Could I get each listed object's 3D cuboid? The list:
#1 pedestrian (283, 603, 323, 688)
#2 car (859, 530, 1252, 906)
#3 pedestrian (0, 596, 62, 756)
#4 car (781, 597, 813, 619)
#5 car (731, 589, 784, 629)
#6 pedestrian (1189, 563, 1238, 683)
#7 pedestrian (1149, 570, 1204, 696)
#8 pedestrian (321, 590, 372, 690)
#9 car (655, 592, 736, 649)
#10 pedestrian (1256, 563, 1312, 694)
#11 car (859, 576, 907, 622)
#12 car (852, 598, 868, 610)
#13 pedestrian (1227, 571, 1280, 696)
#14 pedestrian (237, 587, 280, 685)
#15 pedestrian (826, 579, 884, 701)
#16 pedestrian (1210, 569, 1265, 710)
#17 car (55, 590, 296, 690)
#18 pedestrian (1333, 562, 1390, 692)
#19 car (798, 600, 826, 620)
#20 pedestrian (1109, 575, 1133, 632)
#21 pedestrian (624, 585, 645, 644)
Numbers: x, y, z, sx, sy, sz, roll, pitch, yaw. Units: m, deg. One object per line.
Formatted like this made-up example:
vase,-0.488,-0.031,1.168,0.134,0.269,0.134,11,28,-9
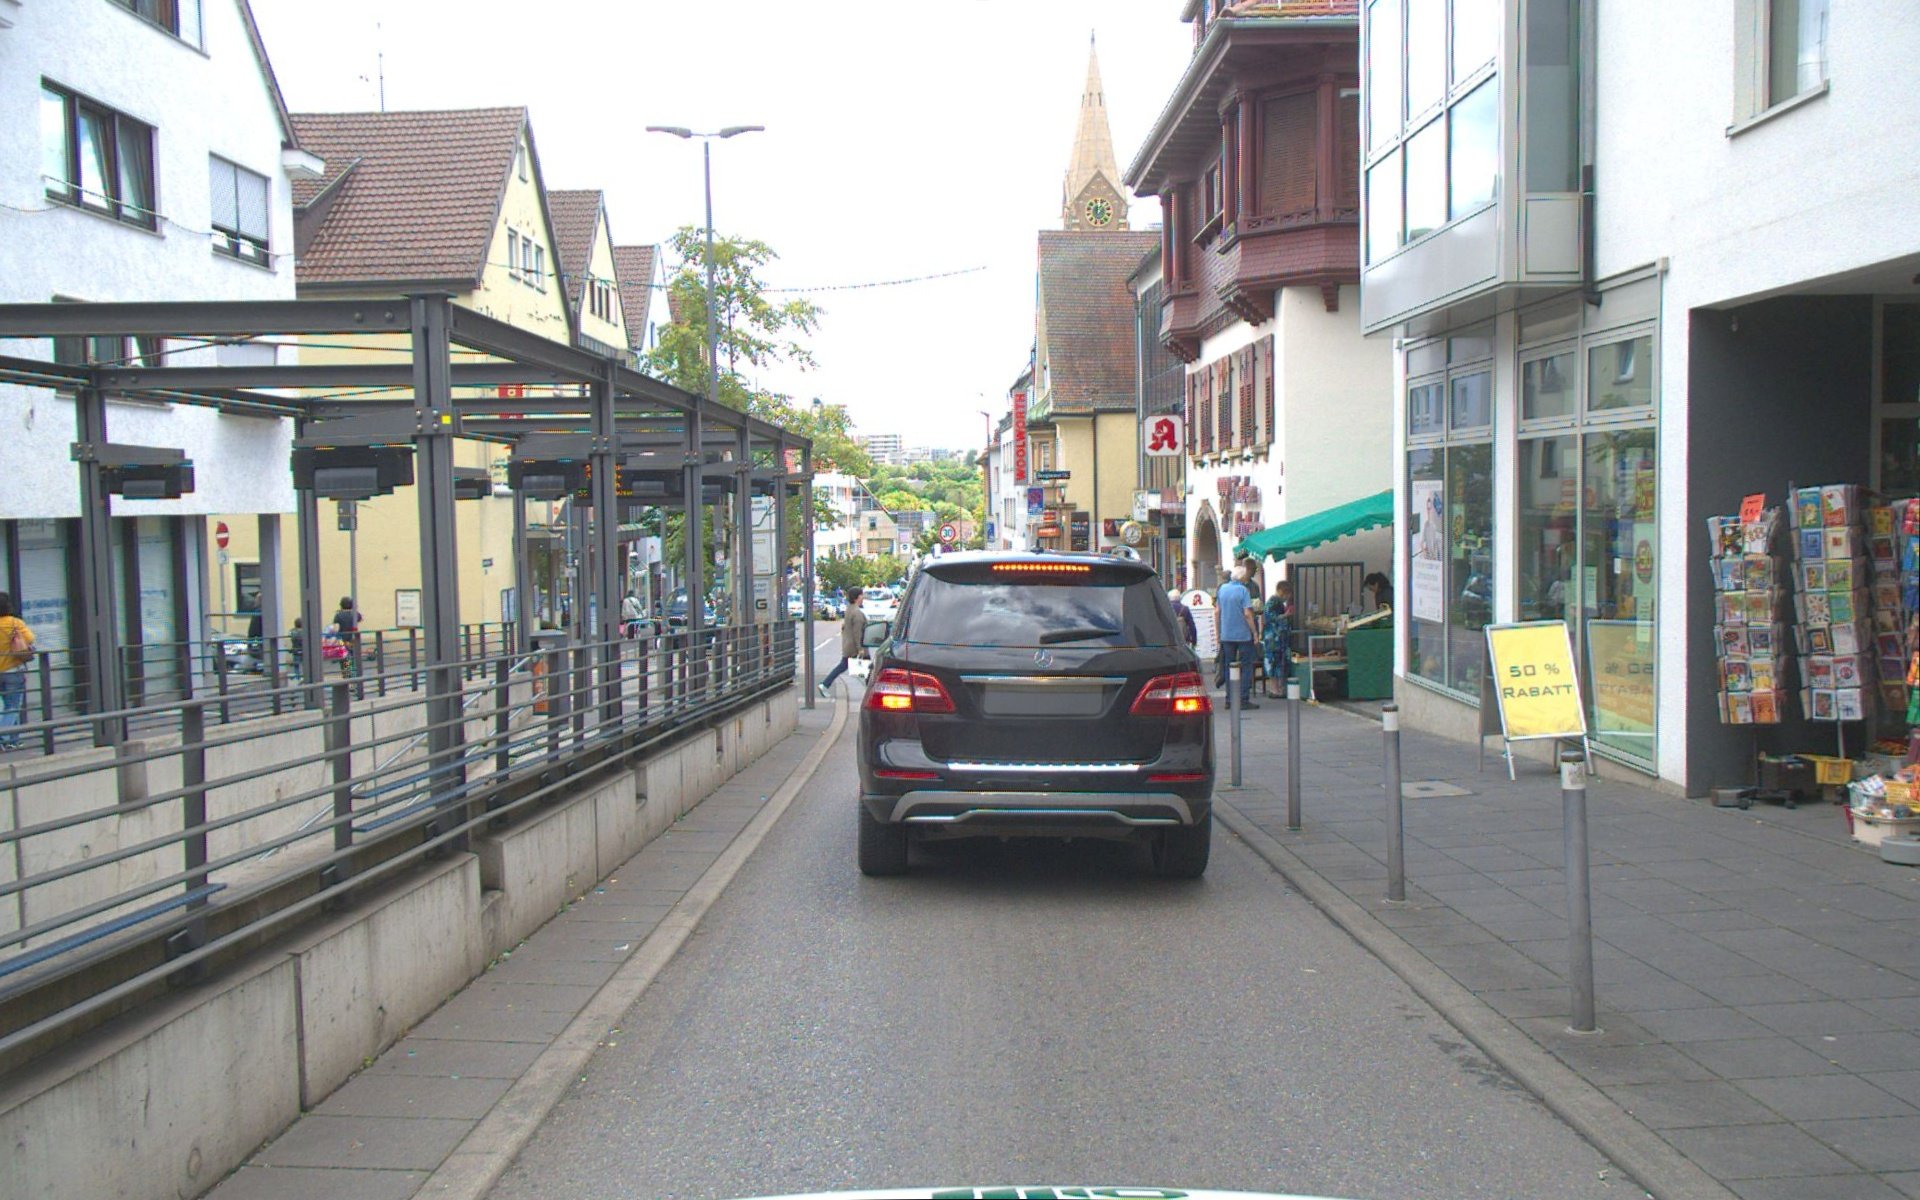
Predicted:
pedestrian,-11.420,0.785,28.766,0.447,1.446,0.533,1,0,2
car,0.387,0.557,9.915,1.862,1.777,3.998,1,0,-2
pedestrian,-10.325,0.826,18.178,0.566,1.718,0.576,1,0,-1
car,-8.561,0.425,87.145,1.360,1.089,3.113,-1,0,0
car,-7.865,0.326,64.503,1.626,1.516,3.747,1,0,0
pedestrian,3.961,0.351,25.843,0.626,1.841,0.684,1,0,-1
pedestrian,3.005,0.449,22.990,0.609,1.718,0.565,1,0,-7
pedestrian,-10.662,0.689,28.761,0.613,1.718,0.679,1,0,-1
car,-7.499,0.560,47.200,1.655,1.516,3.979,1,0,0
pedestrian,4.326,0.376,22.115,0.562,1.718,0.565,-1,0,-7
car,-3.000,-0.060,65.026,1.734,1.743,3.999,1,0,-1
car,-9.711,0.386,160.825,1.360,1.089,3.113,-1,0,0
pedestrian,4.099,0.457,23.125,0.562,1.718,0.565,1,0,-7
pedestrian,-12.515,0.633,29.514,0.601,1.718,0.561,1,0,-15
pedestrian,-1.505,0.567,23.795,0.750,1.718,0.727,1,0,1
pedestrian,3.504,0.491,20.909,0.531,1.756,0.527,-1,0,-7
car,-15.916,0.769,33.622,4.091,1.761,1.836,3,1,12
pedestrian,5.400,0.353,22.268,0.562,1.718,0.565,-1,0,-7
car,-8.818,0.601,98.565,1.360,1.089,3.113,-1,0,0
pedestrian,4.911,0.106,50.476,0.594,1.718,0.724,-1,0,-1
pedestrian,-9.583,0.424,48.656,0.502,1.718,0.541,1,0,-1
